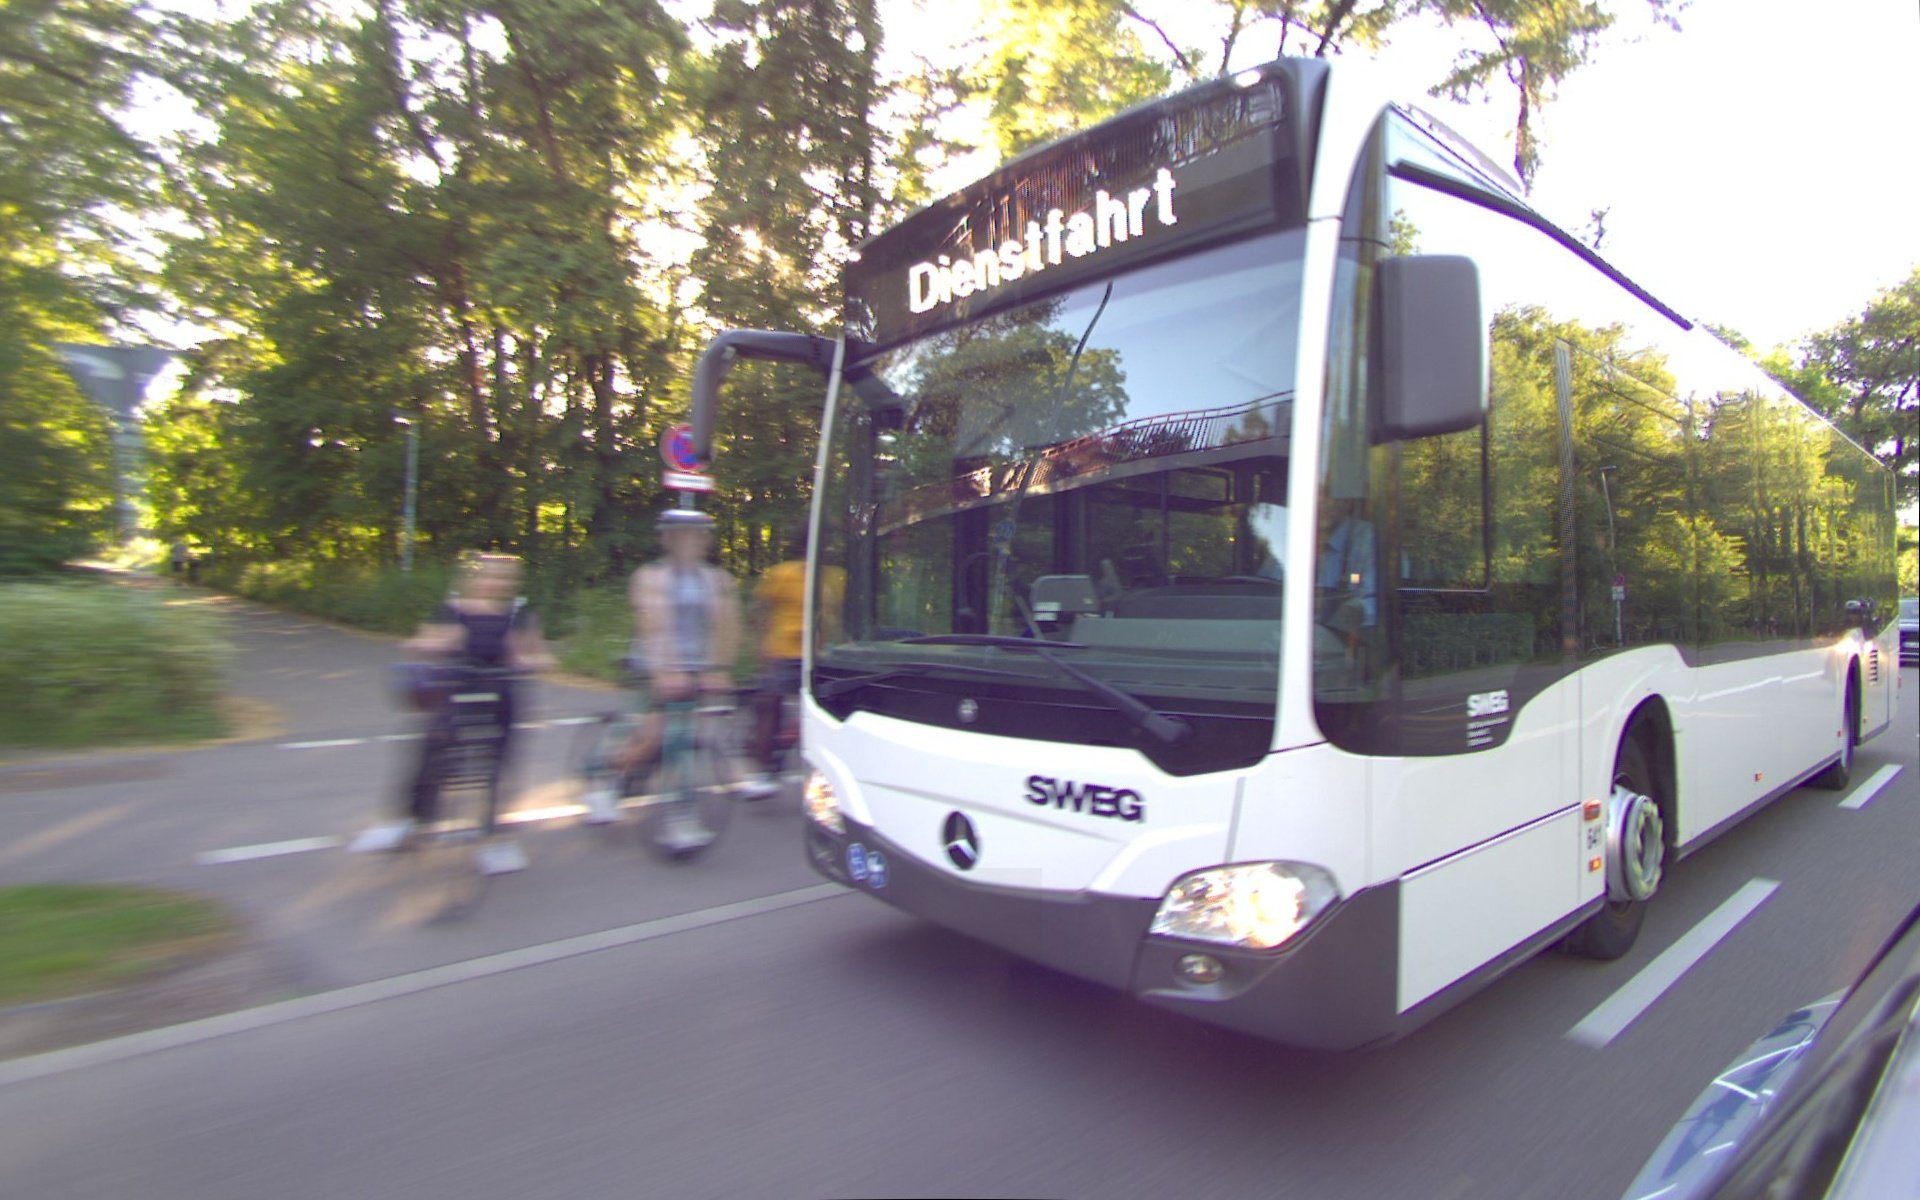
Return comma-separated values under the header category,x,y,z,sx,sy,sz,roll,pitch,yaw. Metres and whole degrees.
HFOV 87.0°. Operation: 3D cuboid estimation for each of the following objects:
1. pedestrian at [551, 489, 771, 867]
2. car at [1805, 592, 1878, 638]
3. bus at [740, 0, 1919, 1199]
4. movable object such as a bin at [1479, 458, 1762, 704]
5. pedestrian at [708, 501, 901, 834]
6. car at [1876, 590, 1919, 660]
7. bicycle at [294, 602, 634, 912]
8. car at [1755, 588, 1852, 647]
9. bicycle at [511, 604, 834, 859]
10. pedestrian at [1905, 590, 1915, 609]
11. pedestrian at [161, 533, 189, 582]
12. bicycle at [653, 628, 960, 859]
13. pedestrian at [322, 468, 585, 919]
category,x,y,z,sx,sy,sz,roll,pitch,yaw
pedestrian,-1.645,0.372,5.592,0.699,1.875,0.924,2,2,45
car,35.480,0.555,40.703,1.994,1.576,4.035,6,4,43
bus,4.467,-0.190,7.277,12.068,3.262,2.708,0,2,-42
movable object such as a bin,11.803,-0.325,17.715,2.759,3.412,7.480,2,2,44
pedestrian,-0.958,0.365,6.272,0.699,1.875,0.924,2,2,45
car,23.960,0.585,24.955,1.857,1.638,3.935,1,1,45
bicycle,-2.459,0.596,4.863,0.856,1.081,2.063,0,2,-45
car,25.452,0.463,30.482,4.387,1.593,1.839,0,2,-45
bicycle,-1.686,0.610,5.686,0.856,1.081,2.063,0,2,-45
pedestrian,93.753,-0.045,99.855,0.508,1.778,0.728,3,2,29
pedestrian,-29.849,-1.613,38.490,0.787,1.835,0.645,-1,0,-43
bicycle,-1.033,0.785,6.365,0.856,1.081,2.063,0,2,-45
pedestrian,-2.380,0.375,4.775,0.699,1.875,0.924,2,2,45
